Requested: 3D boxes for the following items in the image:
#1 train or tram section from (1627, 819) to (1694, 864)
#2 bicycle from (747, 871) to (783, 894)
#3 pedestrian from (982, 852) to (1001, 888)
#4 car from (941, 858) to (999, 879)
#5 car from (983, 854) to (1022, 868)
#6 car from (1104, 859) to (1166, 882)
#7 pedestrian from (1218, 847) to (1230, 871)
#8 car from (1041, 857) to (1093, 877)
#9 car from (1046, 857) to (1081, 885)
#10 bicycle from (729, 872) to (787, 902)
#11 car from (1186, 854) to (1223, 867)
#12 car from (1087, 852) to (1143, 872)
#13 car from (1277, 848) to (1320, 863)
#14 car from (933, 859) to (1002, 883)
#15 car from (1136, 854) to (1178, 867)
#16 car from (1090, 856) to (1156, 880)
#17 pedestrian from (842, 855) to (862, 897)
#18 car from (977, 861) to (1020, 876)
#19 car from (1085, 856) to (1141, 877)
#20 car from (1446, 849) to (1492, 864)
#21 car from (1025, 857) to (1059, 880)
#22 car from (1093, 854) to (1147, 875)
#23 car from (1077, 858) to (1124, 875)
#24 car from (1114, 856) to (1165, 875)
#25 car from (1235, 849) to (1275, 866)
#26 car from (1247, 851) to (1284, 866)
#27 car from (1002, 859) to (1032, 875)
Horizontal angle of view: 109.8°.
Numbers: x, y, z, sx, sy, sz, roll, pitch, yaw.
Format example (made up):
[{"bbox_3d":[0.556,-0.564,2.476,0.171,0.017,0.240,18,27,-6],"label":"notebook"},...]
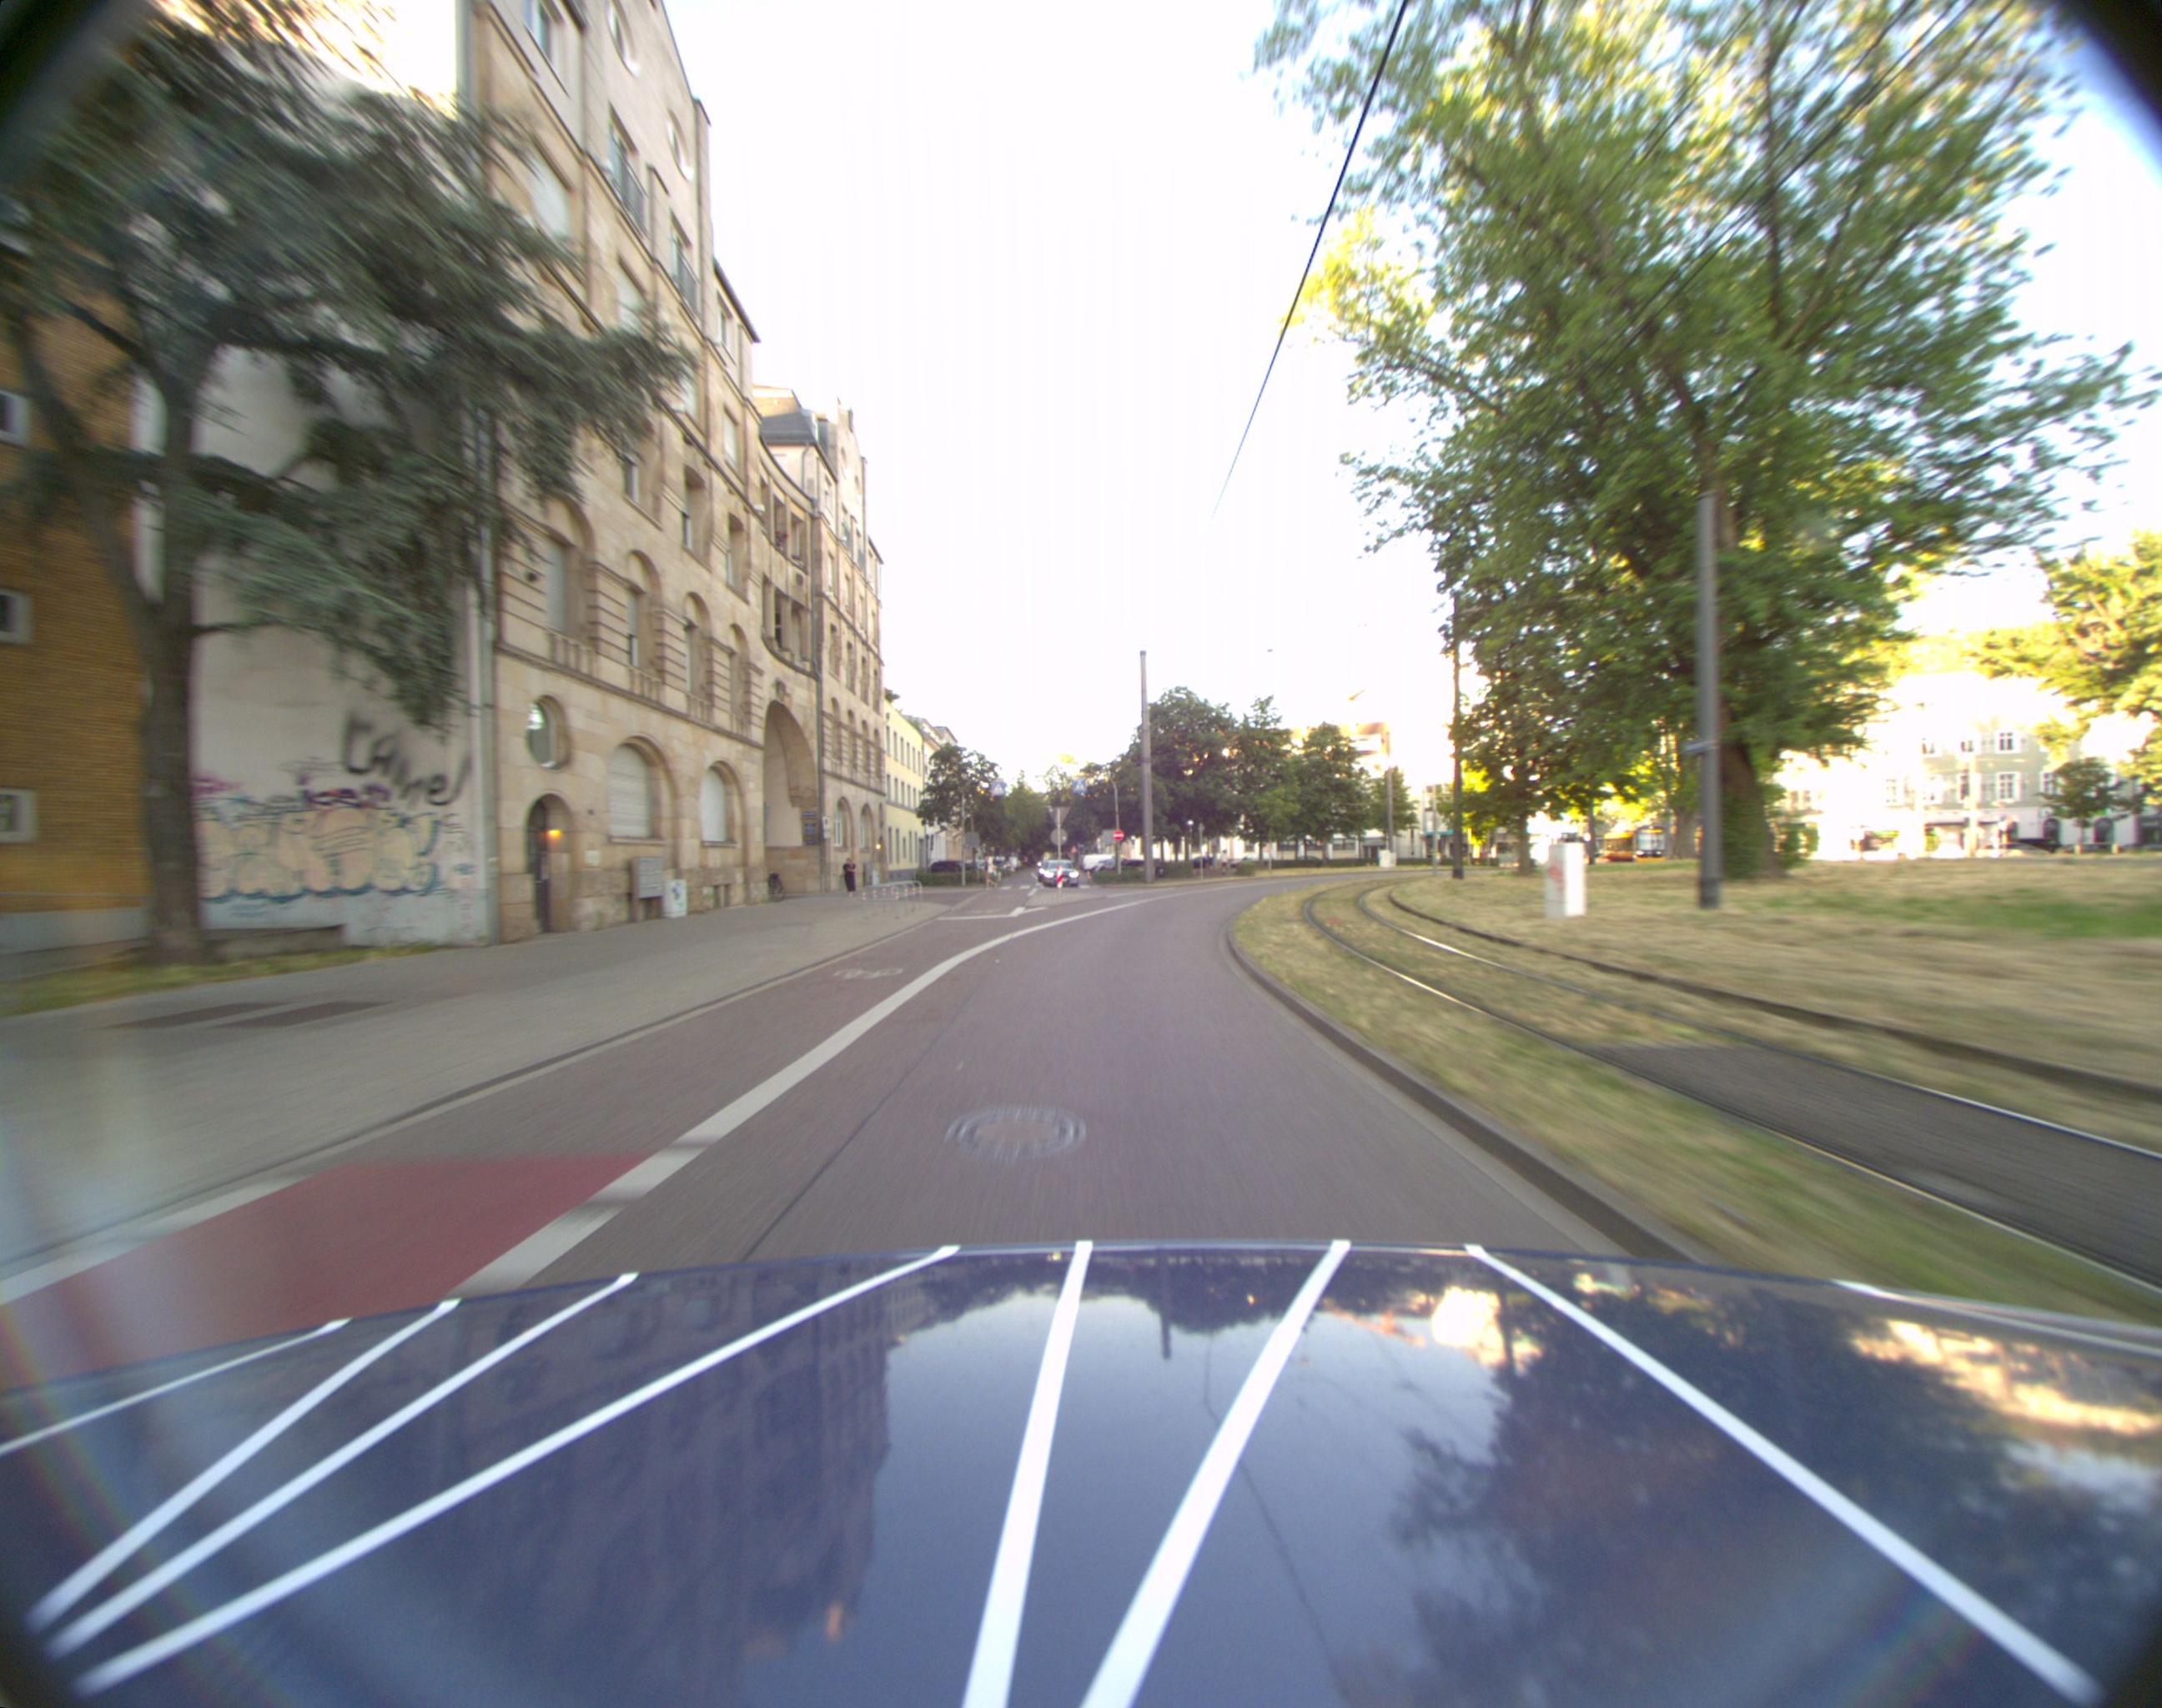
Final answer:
[{"bbox_3d":[50.685,-1.136,66.229,2.942,3.563,13.393,-1,1,45],"label":"train or tram section"},{"bbox_3d":[-13.984,1.248,33.639,1.441,0.980,0.360,-1,0,-3],"label":"bicycle"},{"bbox_3d":[-4.573,0.822,38.802,0.591,1.781,0.823,-1,0,30],"label":"pedestrian"},{"bbox_3d":[-8.212,1.074,56.417,4.065,1.560,1.838,-1,-1,0],"label":"car"},{"bbox_3d":[-9.185,0.827,89.158,4.397,1.603,1.729,-1,-1,-3],"label":"car"},{"bbox_3d":[3.778,1.174,52.821,4.061,1.547,1.868,-1,-1,13],"label":"car"},{"bbox_3d":[10.308,0.360,54.855,0.768,1.705,0.786,-1,0,9],"label":"pedestrian"},{"bbox_3d":[-1.470,1.379,79.722,5.071,2.010,1.971,-1,-1,21],"label":"car"},{"bbox_3d":[-0.999,0.938,42.295,1.820,1.473,4.135,-1,-1,-3],"label":"car"},{"bbox_3d":[-11.498,1.170,27.074,1.855,1.066,0.429,-1,0,-4],"label":"bicycle"},{"bbox_3d":[13.711,0.701,84.193,3.775,1.328,1.730,-1,-1,18],"label":"car"},{"bbox_3d":[3.333,0.793,74.254,5.071,1.891,2.125,-1,-1,21],"label":"car"},{"bbox_3d":[23.215,0.158,80.973,4.314,1.402,1.808,-1,2,18],"label":"car"},{"bbox_3d":[-7.698,1.174,51.697,4.396,1.548,1.838,-1,-1,-1],"label":"car"},{"bbox_3d":[8.585,0.725,85.883,4.386,1.411,1.730,-1,-1,18],"label":"car"},{"bbox_3d":[2.821,0.953,50.699,4.061,1.547,1.868,-1,-1,13],"label":"car"},{"bbox_3d":[-9.369,0.905,31.055,0.577,1.699,0.722,-1,0,1],"label":"pedestrian"},{"bbox_3d":[-8.787,1.585,81.031,4.061,1.542,2.002,-1,-1,13],"label":"car"},{"bbox_3d":[2.483,0.990,59.064,4.061,1.542,2.002,-1,-1,13],"label":"car"},{"bbox_3d":[40.740,0.265,79.902,3.992,1.441,1.851,-1,-1,18],"label":"car"},{"bbox_3d":[-2.579,0.974,51.766,1.819,1.473,4.137,-1,-1,4],"label":"car"},{"bbox_3d":[3.219,0.884,62.032,4.061,1.608,2.002,-1,-1,13],"label":"car"},{"bbox_3d":[1.868,1.210,72.005,4.061,1.542,2.002,-1,-1,13],"label":"car"},{"bbox_3d":[5.042,0.993,65.140,4.061,1.542,2.002,-1,-1,13],"label":"car"},{"bbox_3d":[18.904,0.398,82.488,4.005,1.714,1.704,-1,-1,18],"label":"car"},{"bbox_3d":[21.014,0.512,86.477,4.005,1.714,1.704,-1,-1,19],"label":"car"},{"bbox_3d":[-8.949,1.841,106.984,4.066,2.280,2.000,-1,-1,-3],"label":"car"}]
